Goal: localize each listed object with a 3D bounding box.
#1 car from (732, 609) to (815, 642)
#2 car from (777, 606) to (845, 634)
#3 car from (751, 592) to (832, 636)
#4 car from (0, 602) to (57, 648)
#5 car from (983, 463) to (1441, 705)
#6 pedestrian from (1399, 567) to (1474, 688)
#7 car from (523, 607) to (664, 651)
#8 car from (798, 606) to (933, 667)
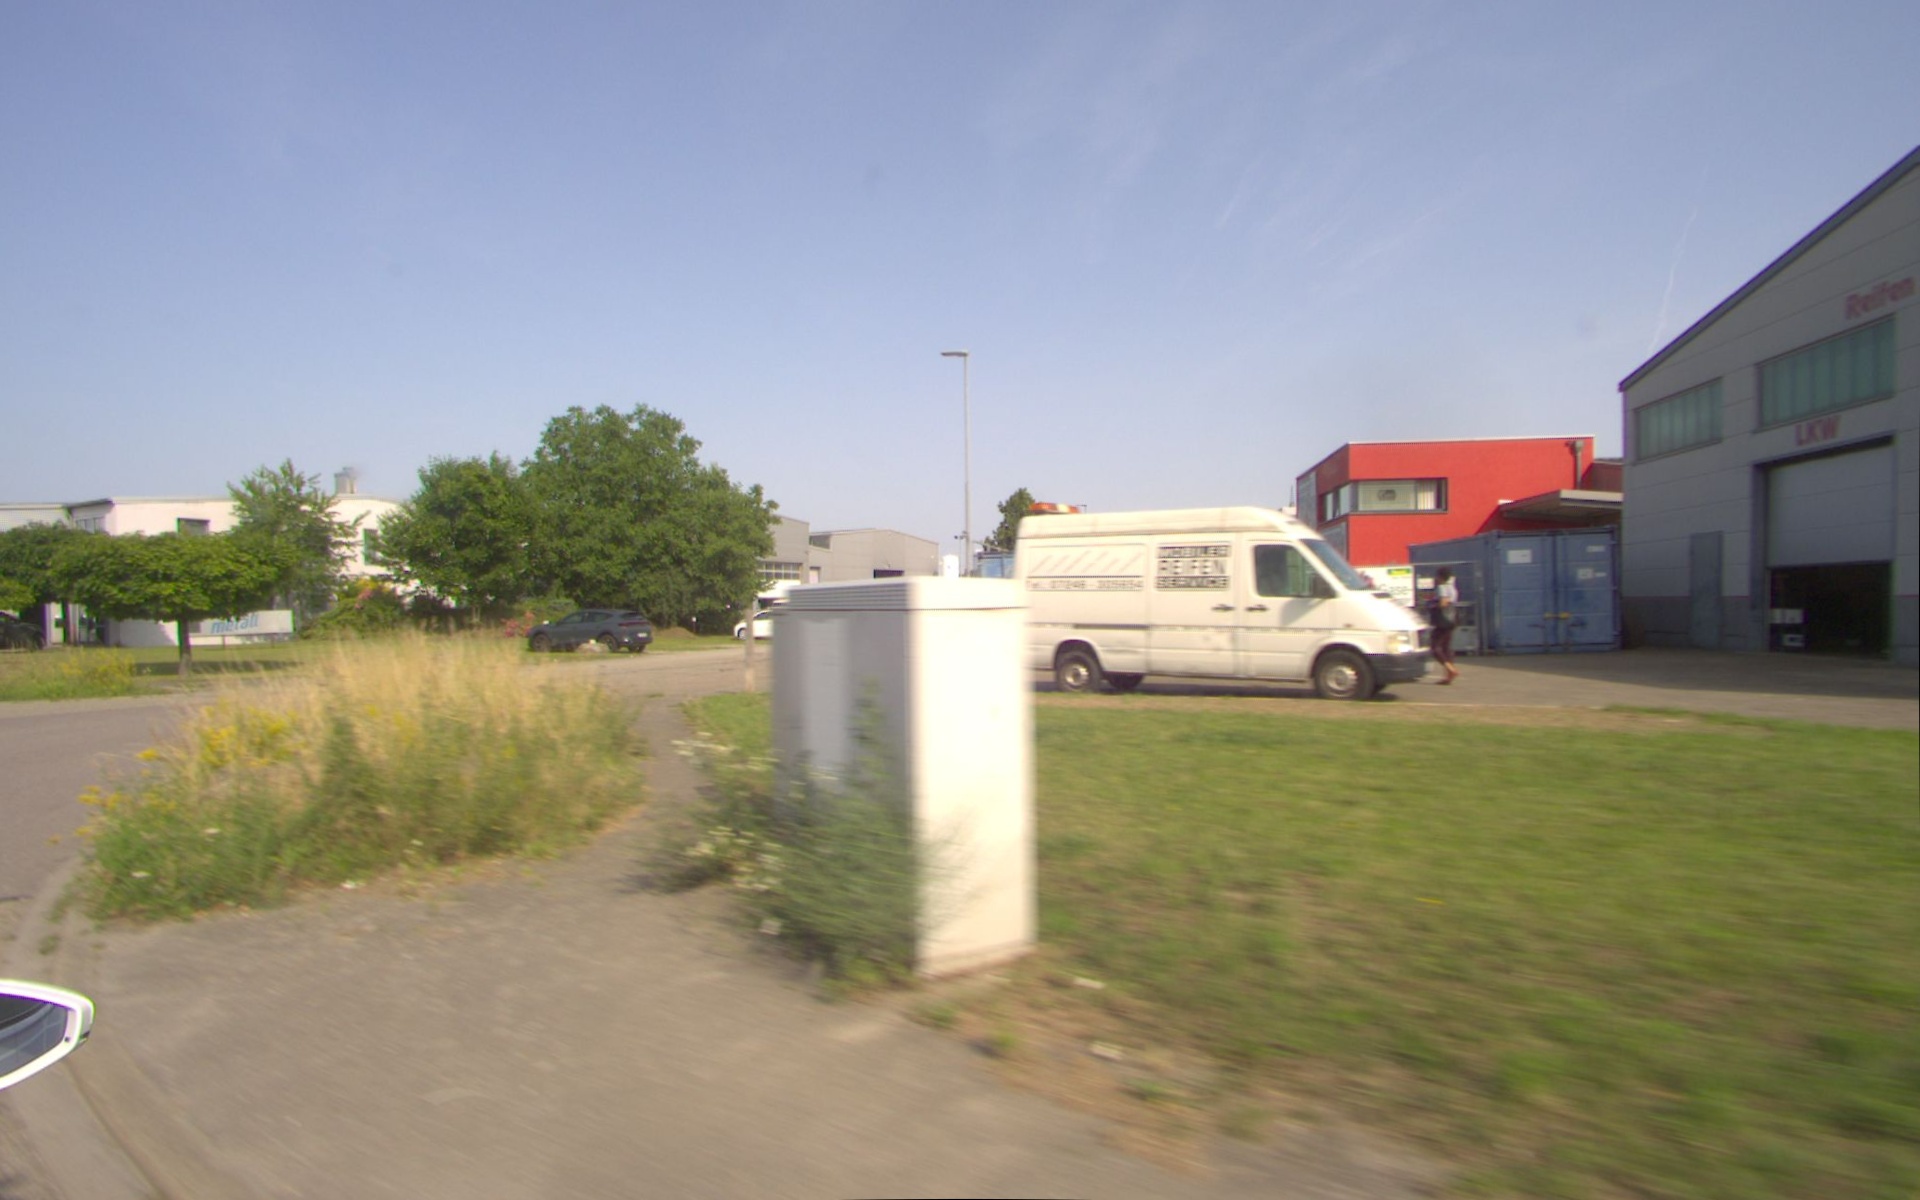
[{"bbox_3d":[-8.746,1.188,46.992,3.452,1.469,1.561,-2,0,12],"label":"car"},{"bbox_3d":[-7.887,1.061,53.091,3.256,1.428,1.561,-1,0,12],"label":"car"},{"bbox_3d":[-8.507,0.698,50.748,3.638,1.983,1.683,3,2,12],"label":"car"},{"bbox_3d":[-34.555,0.899,35.584,1.656,1.610,4.528,0,0,-13],"label":"car"},{"bbox_3d":[3.306,-0.147,13.761,5.796,2.741,1.970,-1,0,32],"label":"car"},{"bbox_3d":[6.822,0.385,14.331,0.696,1.661,0.743,-1,1,-39],"label":"pedestrian"},{"bbox_3d":[-12.571,0.980,34.410,4.266,1.428,1.785,-1,0,13],"label":"car"},{"bbox_3d":[-2.381,0.914,26.458,1.780,1.427,4.463,-2,-1,20],"label":"car"}]
